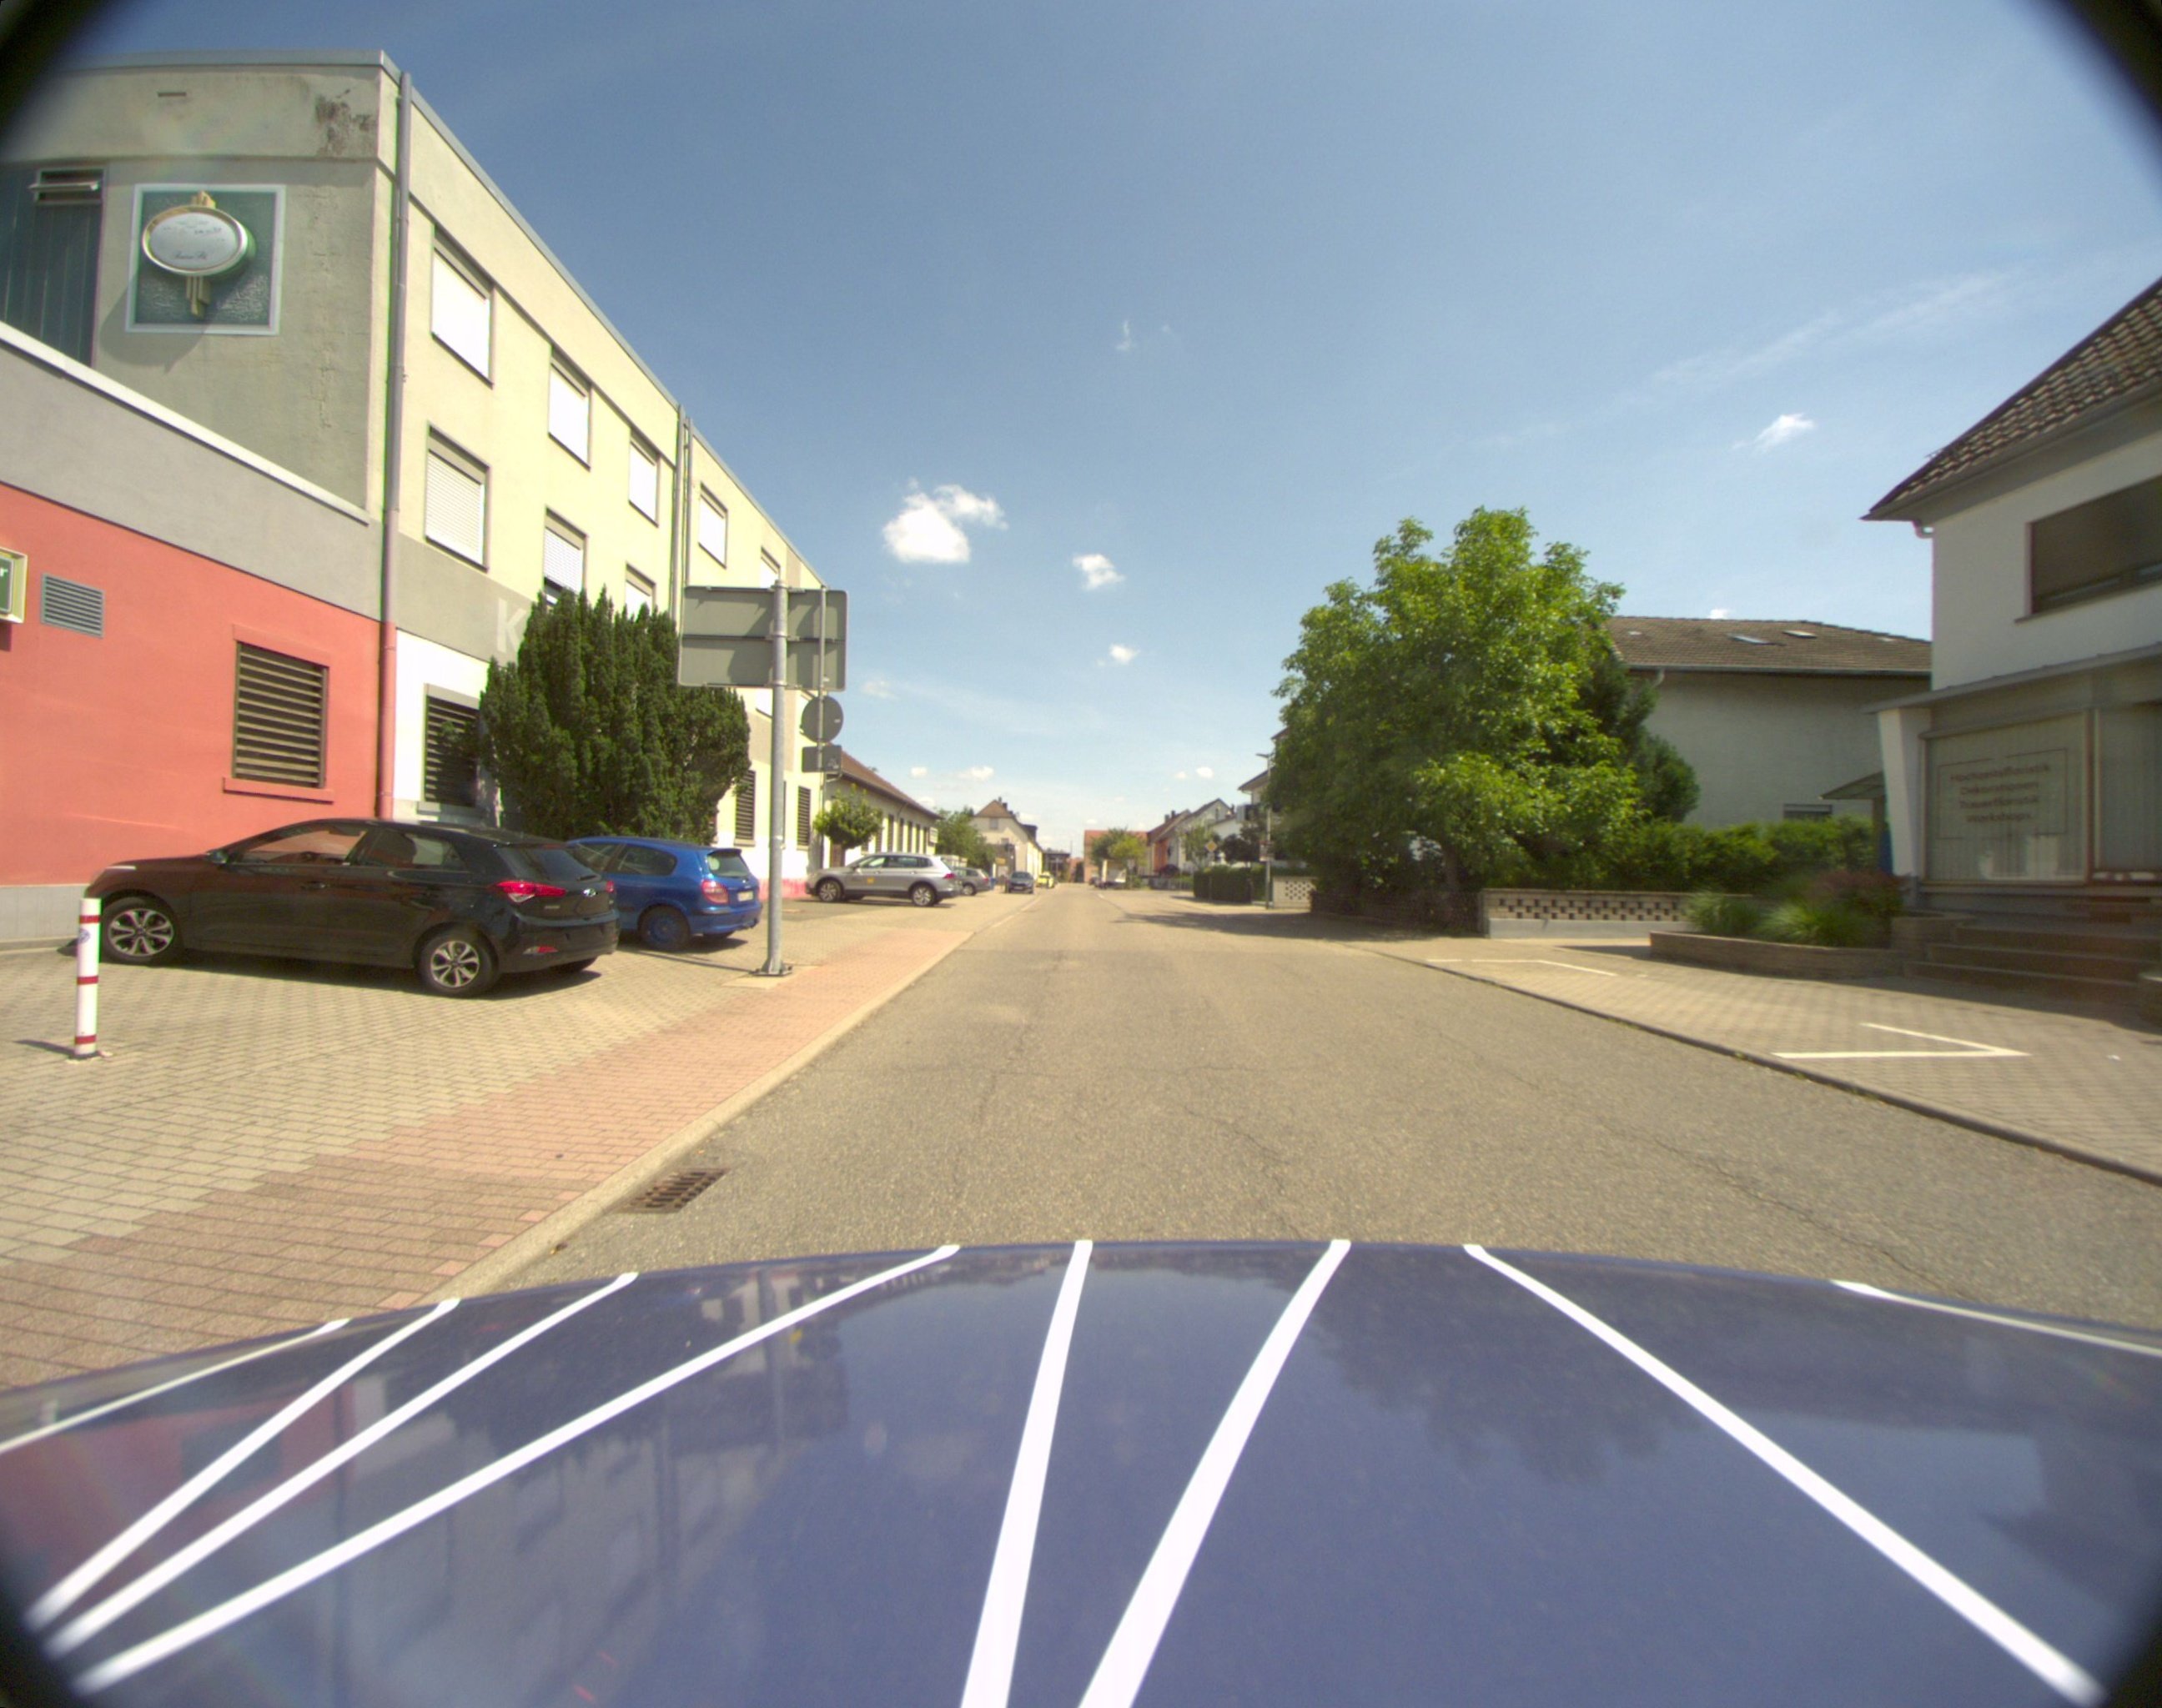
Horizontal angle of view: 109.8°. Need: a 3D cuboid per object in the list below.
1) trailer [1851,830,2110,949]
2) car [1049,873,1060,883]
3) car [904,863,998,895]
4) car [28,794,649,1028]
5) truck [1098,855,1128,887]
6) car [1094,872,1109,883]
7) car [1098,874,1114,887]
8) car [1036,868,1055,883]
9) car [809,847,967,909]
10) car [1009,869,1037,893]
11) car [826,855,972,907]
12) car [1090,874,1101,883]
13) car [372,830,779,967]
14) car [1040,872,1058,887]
[{"bbox_3d":[16.981,0.637,14.438,3.177,2.100,1.674,0,-1,-7],"label":"trailer"},{"bbox_3d":[-4.549,4.134,129.827,1.720,1.491,4.216,5,-2,-1],"label":"car"},{"bbox_3d":[-6.693,1.286,39.467,4.538,1.445,1.918,3,-1,-1],"label":"car"},{"bbox_3d":[-6.671,0.493,7.243,3.906,1.481,1.809,7,0,-3],"label":"car"},{"bbox_3d":[3.537,1.921,85.237,2.444,3.226,7.036,4,-2,-3],"label":"truck"},{"bbox_3d":[2.843,3.232,104.975,1.721,1.491,4.216,3,-2,-2],"label":"car"},{"bbox_3d":[3.284,3.458,99.042,1.721,1.491,4.216,3,-2,-2],"label":"car"},{"bbox_3d":[-3.677,2.273,80.124,1.720,1.389,4.216,5,-2,-1],"label":"car"},{"bbox_3d":[-5.967,0.748,23.923,4.465,1.686,1.923,3,-1,-3],"label":"car"},{"bbox_3d":[-3.788,1.745,50.356,1.632,1.480,4.140,2,-2,-2],"label":"car"},{"bbox_3d":[-6.176,0.927,26.191,4.512,1.510,2.000,3,-1,-2],"label":"car"},{"bbox_3d":[2.649,4.299,135.856,1.721,1.491,4.216,3,-2,-2],"label":"car"},{"bbox_3d":[-6.741,0.551,10.508,4.334,1.431,1.779,4,1,-2],"label":"car"},{"bbox_3d":[-3.551,2.810,84.838,1.720,1.491,4.216,5,-2,-1],"label":"car"}]
